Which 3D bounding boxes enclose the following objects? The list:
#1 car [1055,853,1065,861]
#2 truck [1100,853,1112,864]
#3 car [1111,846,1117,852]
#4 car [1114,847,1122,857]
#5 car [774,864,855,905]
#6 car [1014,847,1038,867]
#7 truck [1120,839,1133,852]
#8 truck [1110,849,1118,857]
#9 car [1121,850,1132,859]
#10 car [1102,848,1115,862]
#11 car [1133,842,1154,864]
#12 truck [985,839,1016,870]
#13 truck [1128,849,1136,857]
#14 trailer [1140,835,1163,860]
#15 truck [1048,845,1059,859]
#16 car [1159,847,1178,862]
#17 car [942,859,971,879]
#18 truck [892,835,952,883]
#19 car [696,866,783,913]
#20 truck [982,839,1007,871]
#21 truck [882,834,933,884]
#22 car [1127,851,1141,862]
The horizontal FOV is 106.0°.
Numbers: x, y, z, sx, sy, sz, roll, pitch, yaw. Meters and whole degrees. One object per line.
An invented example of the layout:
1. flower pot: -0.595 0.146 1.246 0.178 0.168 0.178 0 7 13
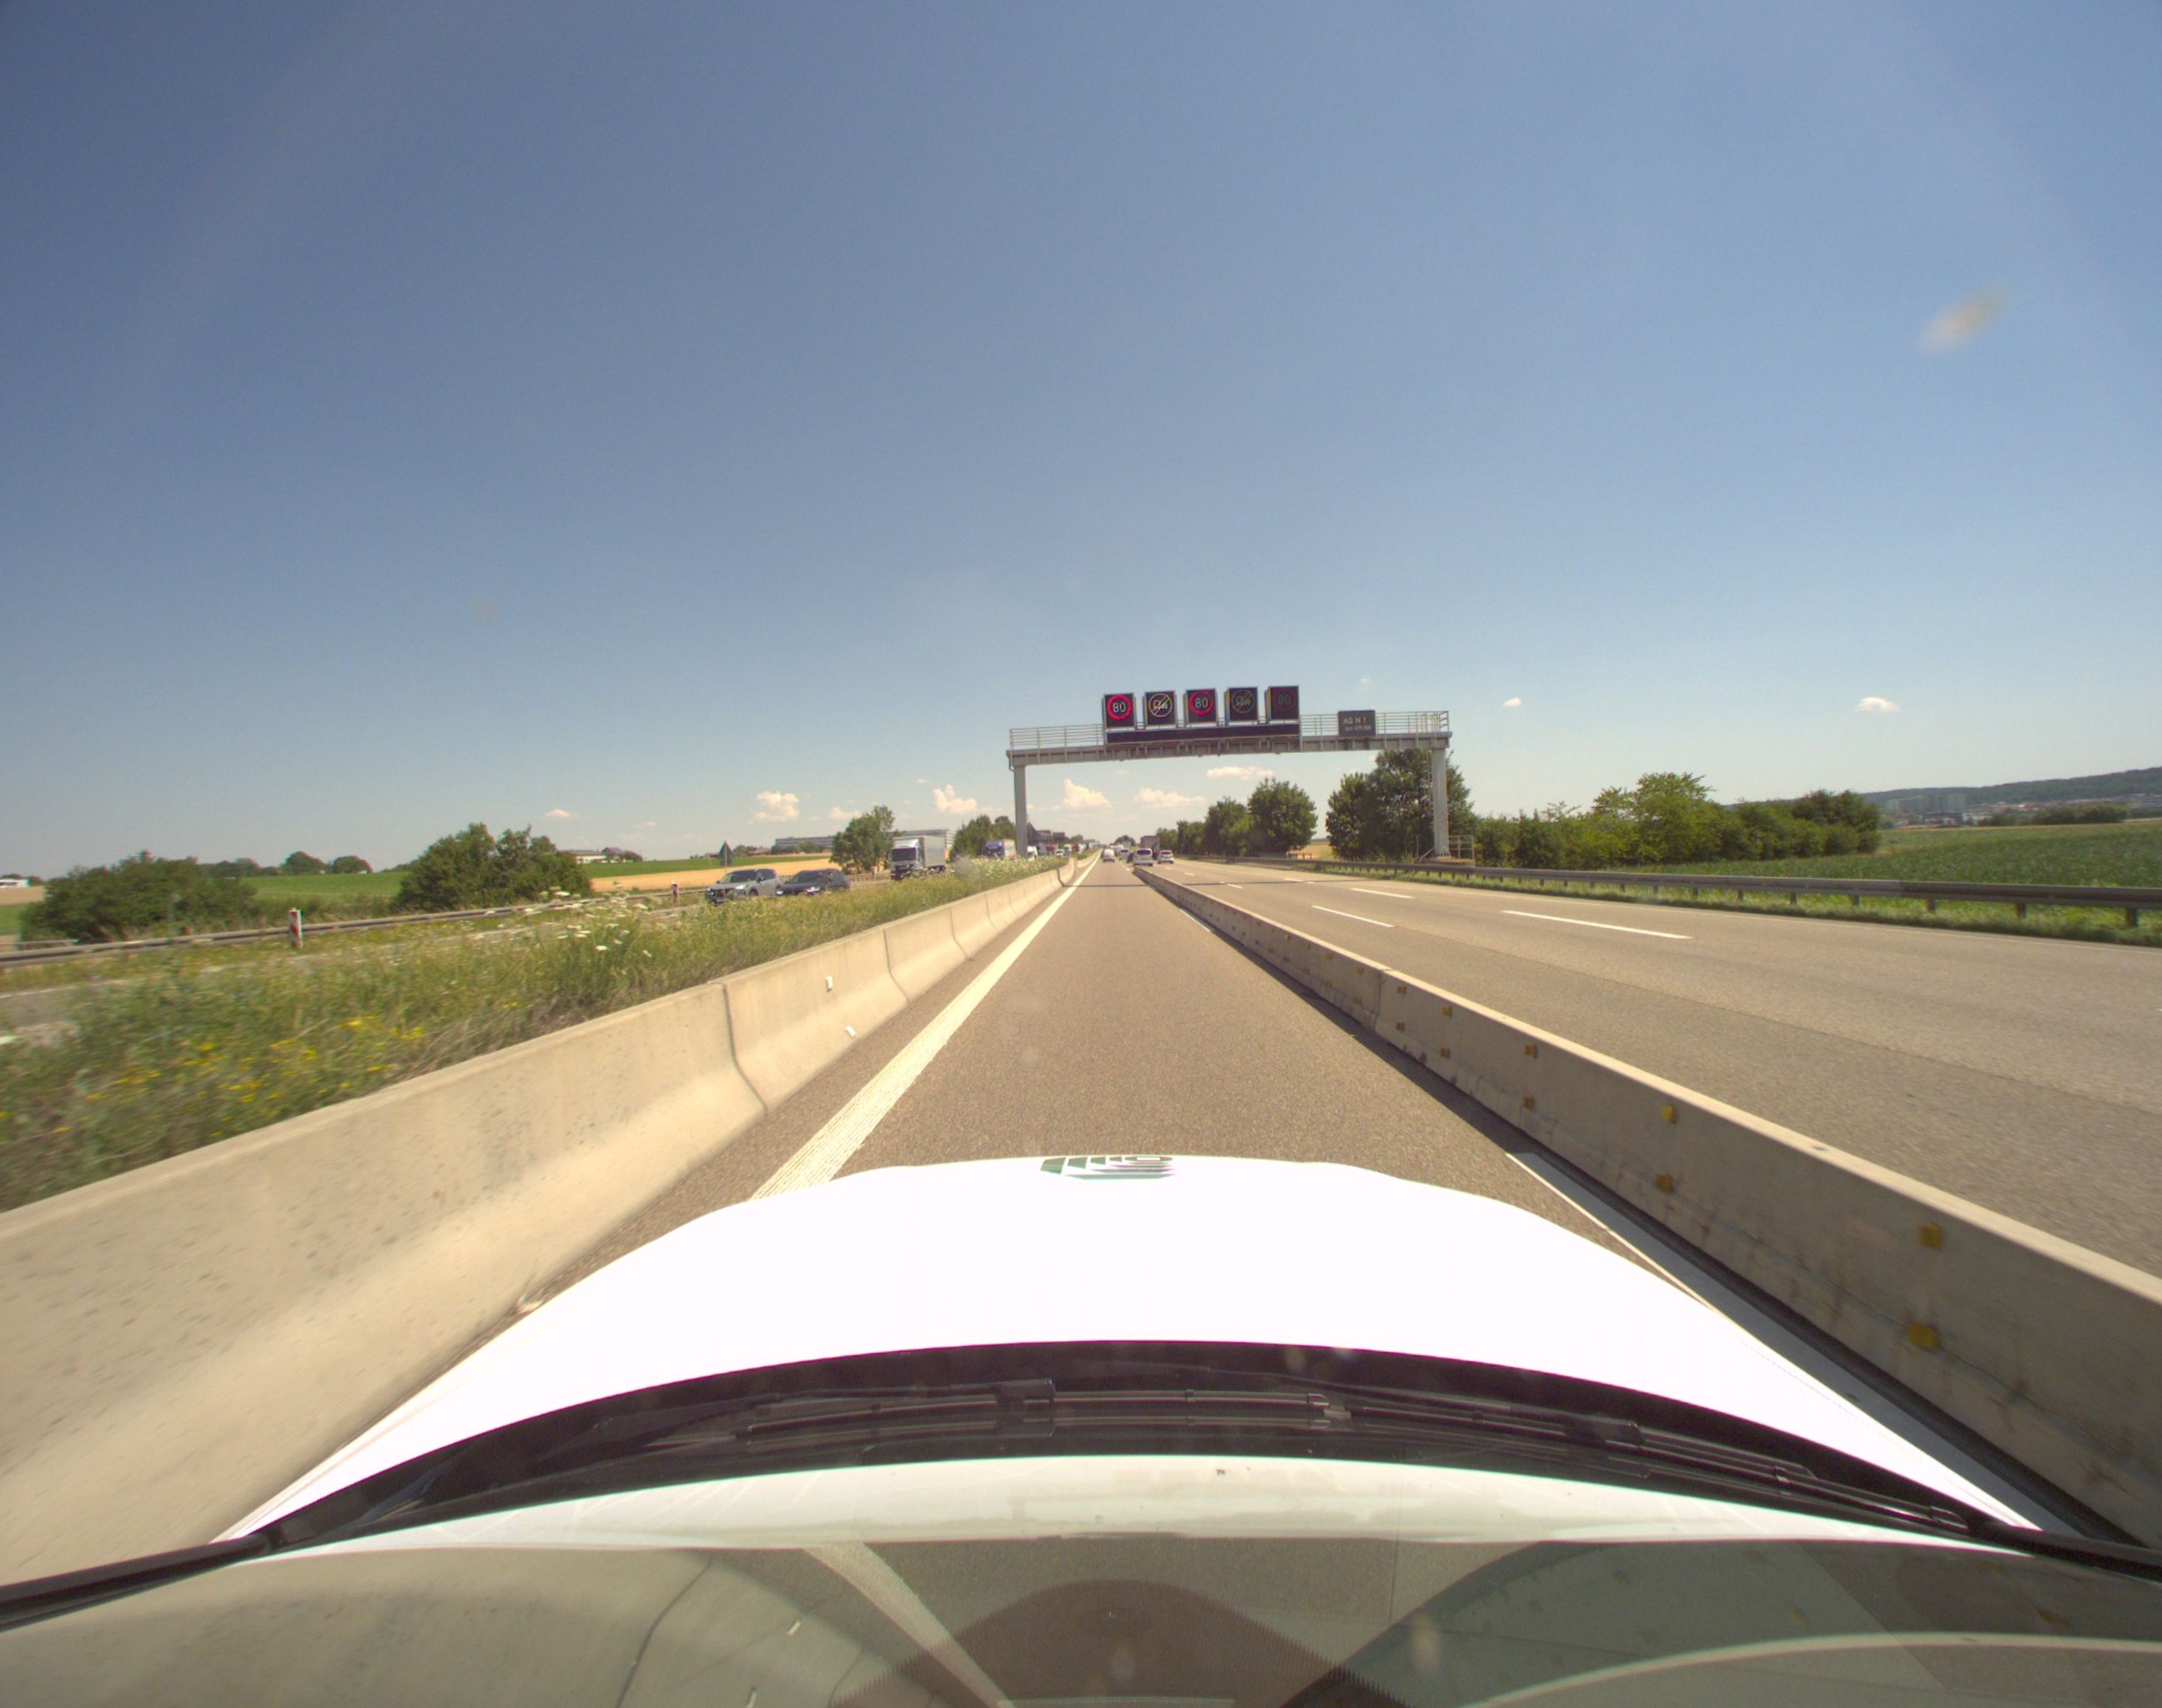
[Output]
1. car: -5.376 0.716 209.565 2.175 2.013 5.768 -2 0 4
2. truck: 5.009 0.901 161.047 2.204 2.013 4.972 -2 0 1
3. car: 10.626 -1.706 261.765 1.986 1.835 4.001 -2 -1 2
4. car: 8.809 -0.479 194.526 1.767 2.392 4.001 -2 -1 1
5. car: -10.682 1.182 32.977 1.827 1.324 4.279 -4 0 -1
6. car: -5.722 0.341 85.077 1.986 1.946 4.795 -3 0 1
7. truck: 14.583 -2.711 263.169 3.802 3.904 9.583 -2 0 1
8. truck: 9.182 -0.334 225.495 1.986 2.013 4.001 -2 0 1
9. car: 8.221 0.096 147.322 1.767 1.447 4.001 -2 -1 1
10. car: 4.085 0.213 121.358 1.986 2.014 4.001 -2 -1 1
11. car: 6.529 -0.070 85.207 1.986 2.120 4.001 -2 -1 1
12. truck: -12.098 0.107 123.364 2.583 4.238 14.126 -5 0 1
13. truck: 14.380 -0.317 230.178 1.986 2.013 4.001 -2 0 1
14. trailer: 11.962 -1.061 138.881 3.265 3.967 9.115 -2 -1 2
15. truck: -8.411 -0.663 247.111 2.846 3.855 4.001 -3 0 1
16. car: 10.947 0.085 101.611 1.986 1.794 4.001 -2 -1 1
17. car: -9.671 1.150 63.580 1.553 1.442 3.837 -2 0 1
18. truck: -13.259 0.352 68.776 2.689 3.620 8.792 -4 0 3
19. car: -14.390 1.442 34.567 1.826 1.719 4.081 -4 0 1
20. truck: -12.309 0.097 115.993 2.583 4.238 4.855 -5 0 1
21. truck: -13.486 0.386 63.640 2.687 3.587 4.003 -4 0 2
22. car: 7.270 0.314 111.798 1.767 1.447 4.001 -2 -1 1
